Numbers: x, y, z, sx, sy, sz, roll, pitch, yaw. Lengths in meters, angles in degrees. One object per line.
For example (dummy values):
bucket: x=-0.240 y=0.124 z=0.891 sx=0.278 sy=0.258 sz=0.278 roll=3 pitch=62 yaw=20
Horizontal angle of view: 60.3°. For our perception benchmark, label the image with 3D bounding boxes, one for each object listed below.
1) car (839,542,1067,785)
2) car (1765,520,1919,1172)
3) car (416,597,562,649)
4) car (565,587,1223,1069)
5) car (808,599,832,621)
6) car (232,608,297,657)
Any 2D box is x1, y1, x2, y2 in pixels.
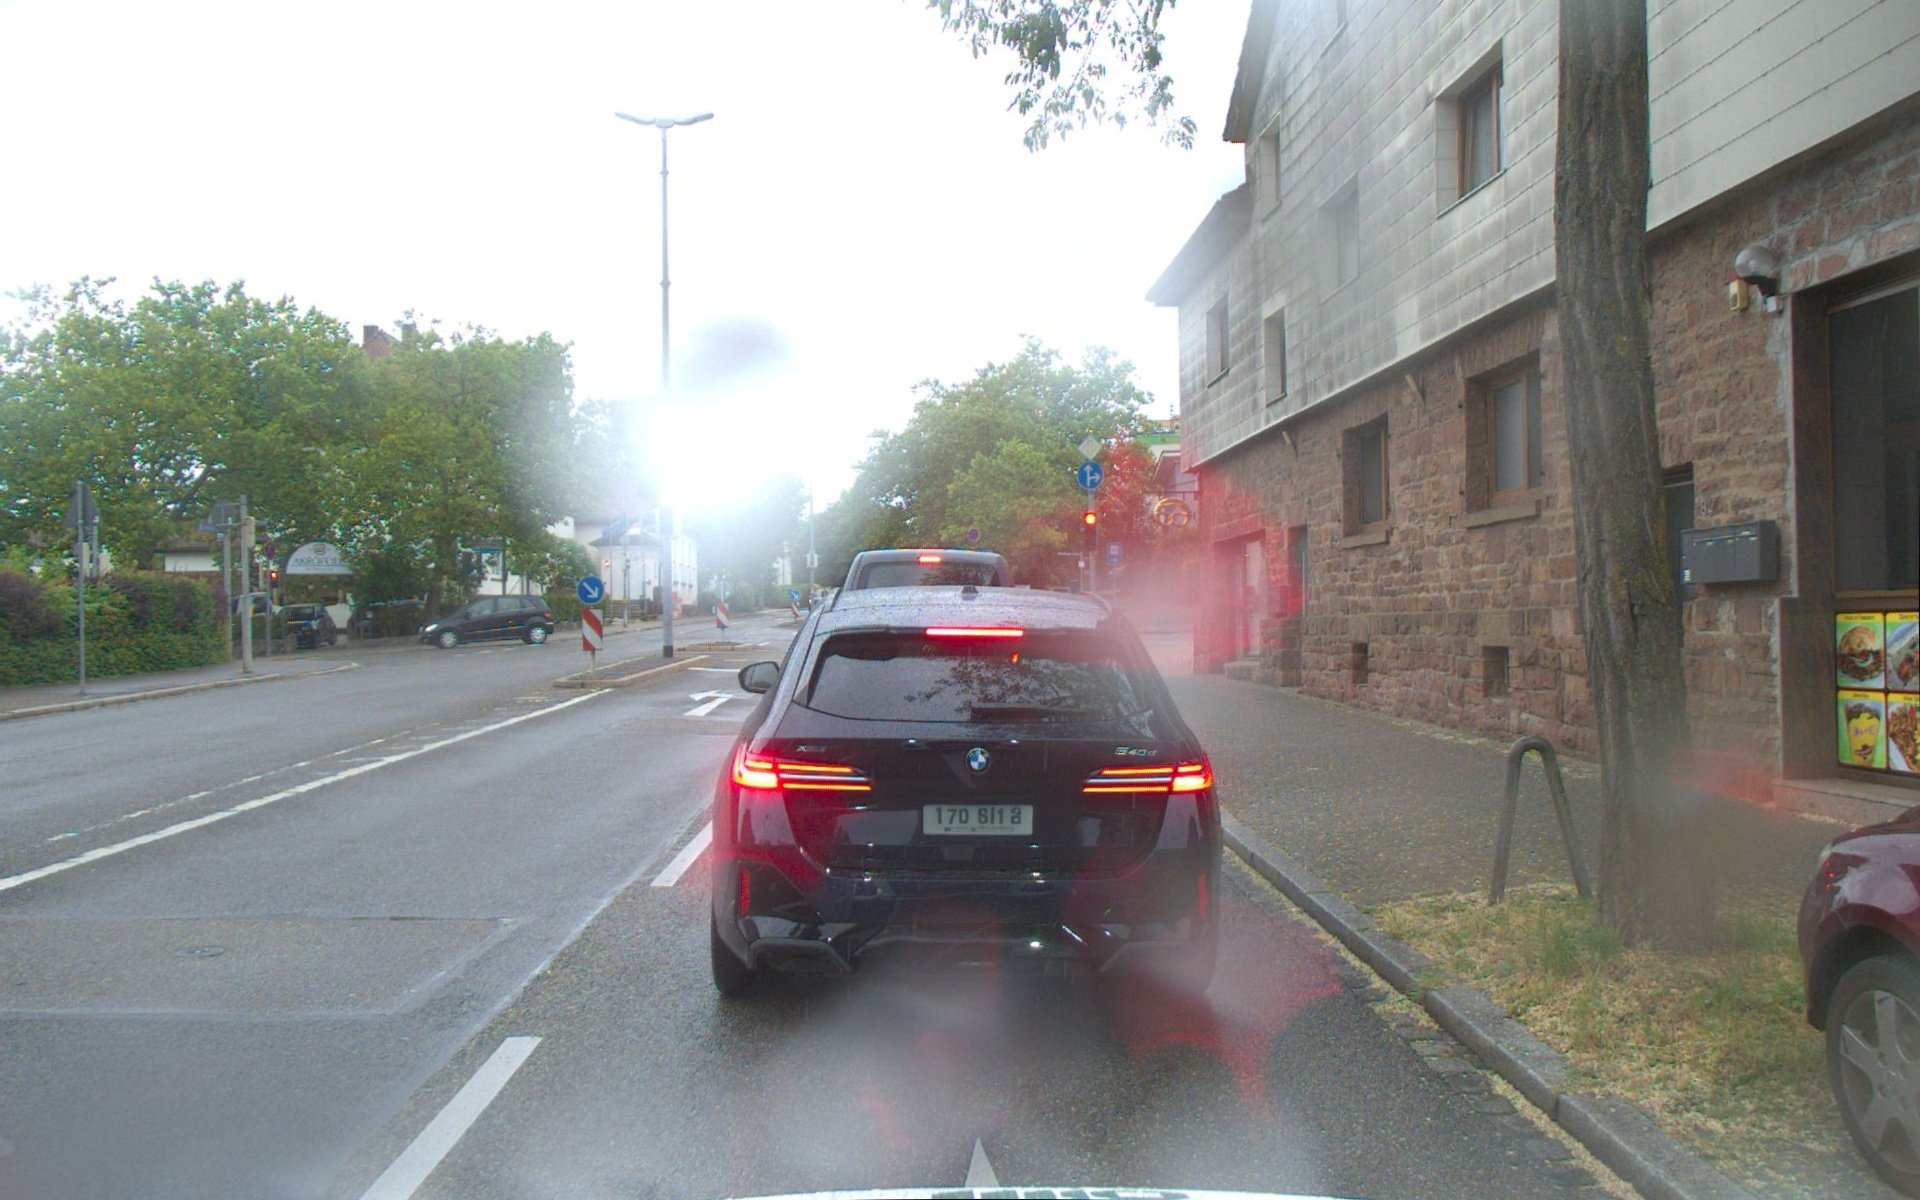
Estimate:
car: x=-0.151 y=0.463 z=14.673 sx=1.748 sy=1.849 sz=3.998 roll=0 pitch=1 yaw=-3
car: x=3.057 y=0.549 z=2.621 sx=1.553 sy=1.516 sz=3.625 roll=-3 pitch=1 yaw=-4
car: x=-15.137 y=0.727 z=53.147 sx=4.402 sy=1.614 sz=2.059 roll=1 pitch=0 yaw=-20
car: x=-0.316 y=0.702 z=7.364 sx=2.023 sy=1.472 sz=4.480 roll=1 pitch=0 yaw=-3
car: x=-9.530 y=0.663 z=112.721 sx=1.435 sy=1.422 sz=3.321 roll=0 pitch=1 yaw=-1
car: x=-23.807 y=1.081 z=56.695 sx=1.966 sy=1.579 sz=3.973 roll=0 pitch=1 yaw=-22
